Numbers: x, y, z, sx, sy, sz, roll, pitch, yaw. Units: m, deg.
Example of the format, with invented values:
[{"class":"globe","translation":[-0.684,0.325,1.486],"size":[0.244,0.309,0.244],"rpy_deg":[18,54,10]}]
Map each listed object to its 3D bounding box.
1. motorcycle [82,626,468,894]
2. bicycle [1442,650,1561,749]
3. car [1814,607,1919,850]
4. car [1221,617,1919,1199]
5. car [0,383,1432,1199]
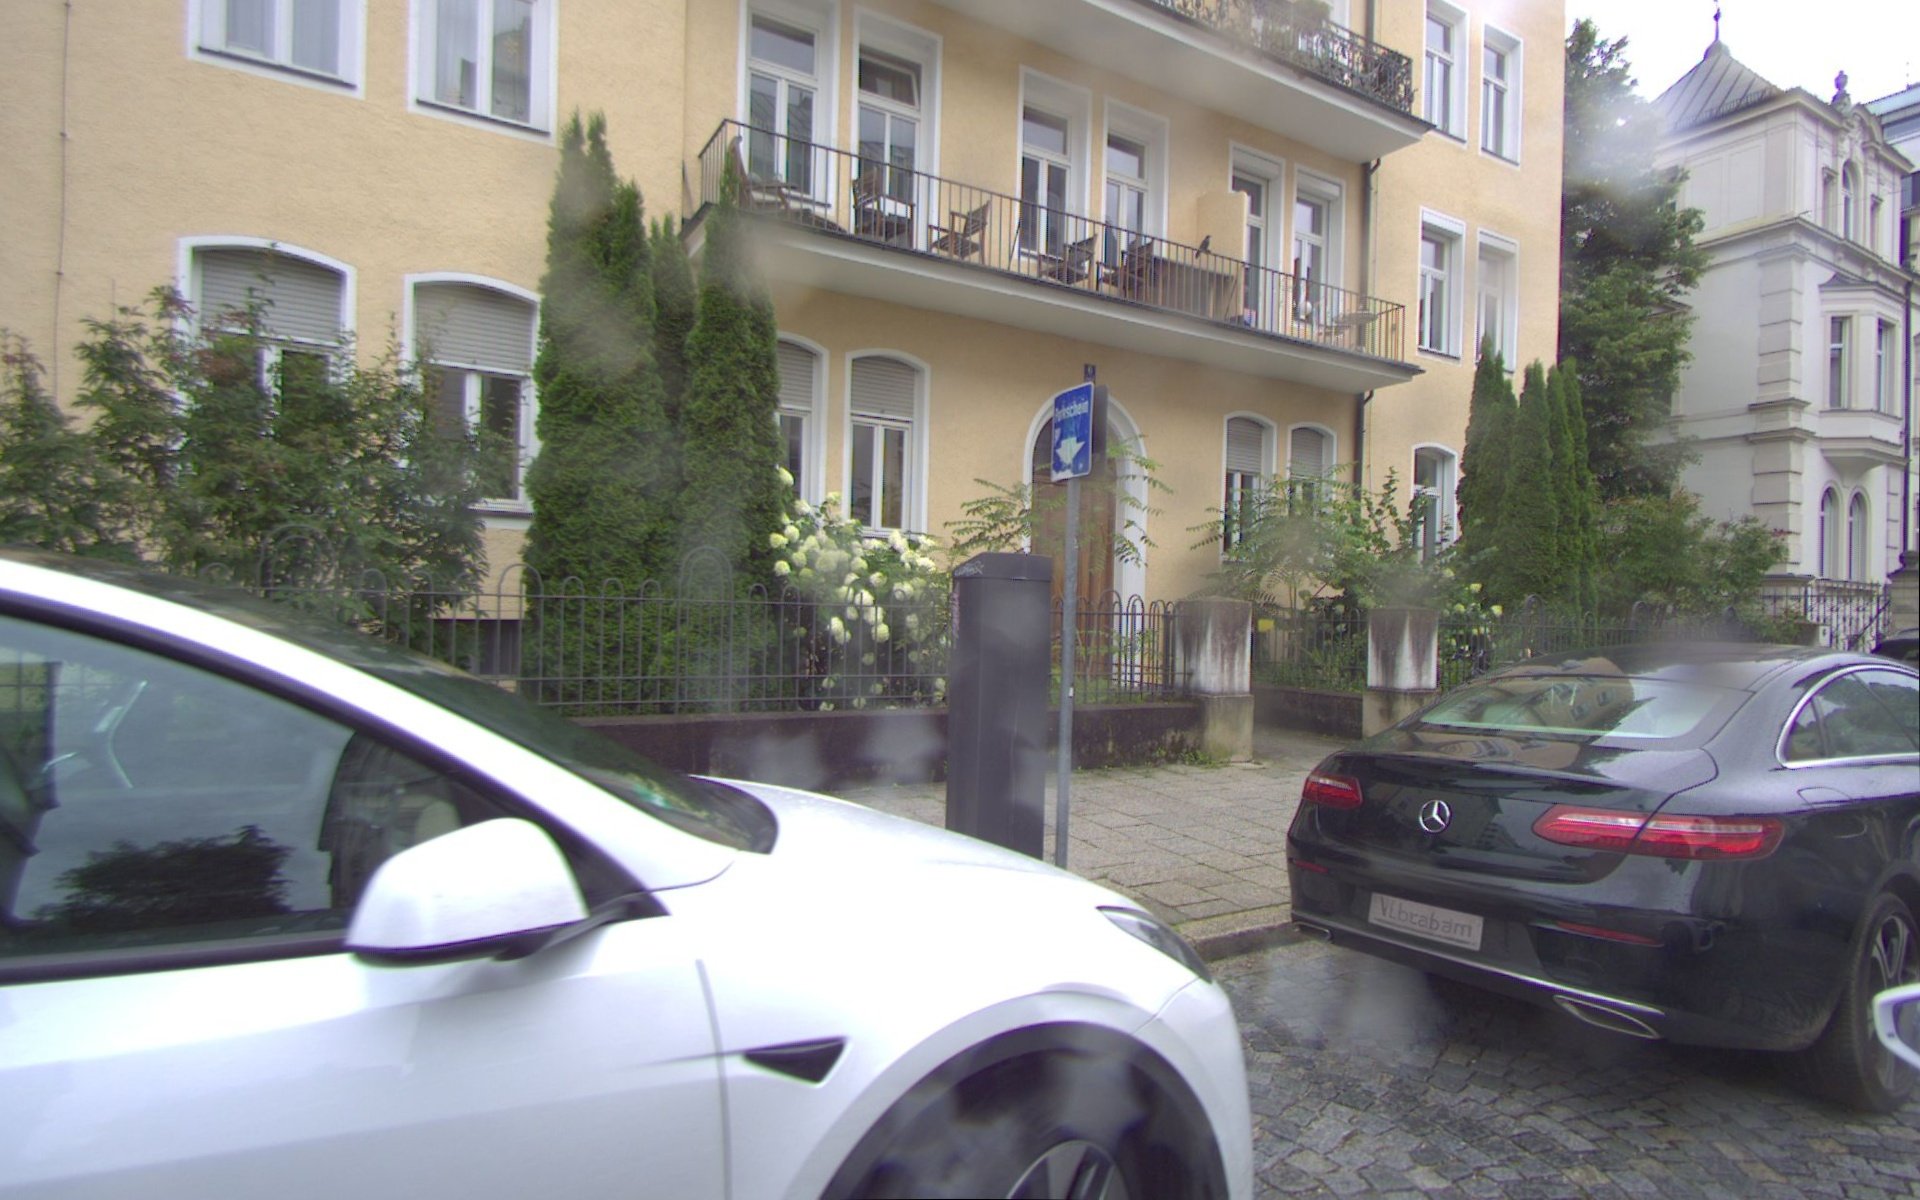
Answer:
[{"class":"motorcycle","translation":[-3.449,0.760,5.206],"size":[1.561,1.210,0.488],"rpy_deg":[2,0,-31]},{"class":"bicycle","translation":[5.948,1.072,11.000],"size":[1.554,1.016,0.350],"rpy_deg":[2,0,-29]},{"class":"car","translation":[8.227,0.911,7.491],"size":[4.008,1.610,1.572],"rpy_deg":[2,-3,-30]},{"class":"car","translation":[3.377,0.861,4.398],"size":[4.339,1.448,1.765],"rpy_deg":[2,-1,-30]},{"class":"car","translation":[-1.331,0.634,1.741],"size":[4.340,1.669,1.765],"rpy_deg":[2,-1,-31]}]
